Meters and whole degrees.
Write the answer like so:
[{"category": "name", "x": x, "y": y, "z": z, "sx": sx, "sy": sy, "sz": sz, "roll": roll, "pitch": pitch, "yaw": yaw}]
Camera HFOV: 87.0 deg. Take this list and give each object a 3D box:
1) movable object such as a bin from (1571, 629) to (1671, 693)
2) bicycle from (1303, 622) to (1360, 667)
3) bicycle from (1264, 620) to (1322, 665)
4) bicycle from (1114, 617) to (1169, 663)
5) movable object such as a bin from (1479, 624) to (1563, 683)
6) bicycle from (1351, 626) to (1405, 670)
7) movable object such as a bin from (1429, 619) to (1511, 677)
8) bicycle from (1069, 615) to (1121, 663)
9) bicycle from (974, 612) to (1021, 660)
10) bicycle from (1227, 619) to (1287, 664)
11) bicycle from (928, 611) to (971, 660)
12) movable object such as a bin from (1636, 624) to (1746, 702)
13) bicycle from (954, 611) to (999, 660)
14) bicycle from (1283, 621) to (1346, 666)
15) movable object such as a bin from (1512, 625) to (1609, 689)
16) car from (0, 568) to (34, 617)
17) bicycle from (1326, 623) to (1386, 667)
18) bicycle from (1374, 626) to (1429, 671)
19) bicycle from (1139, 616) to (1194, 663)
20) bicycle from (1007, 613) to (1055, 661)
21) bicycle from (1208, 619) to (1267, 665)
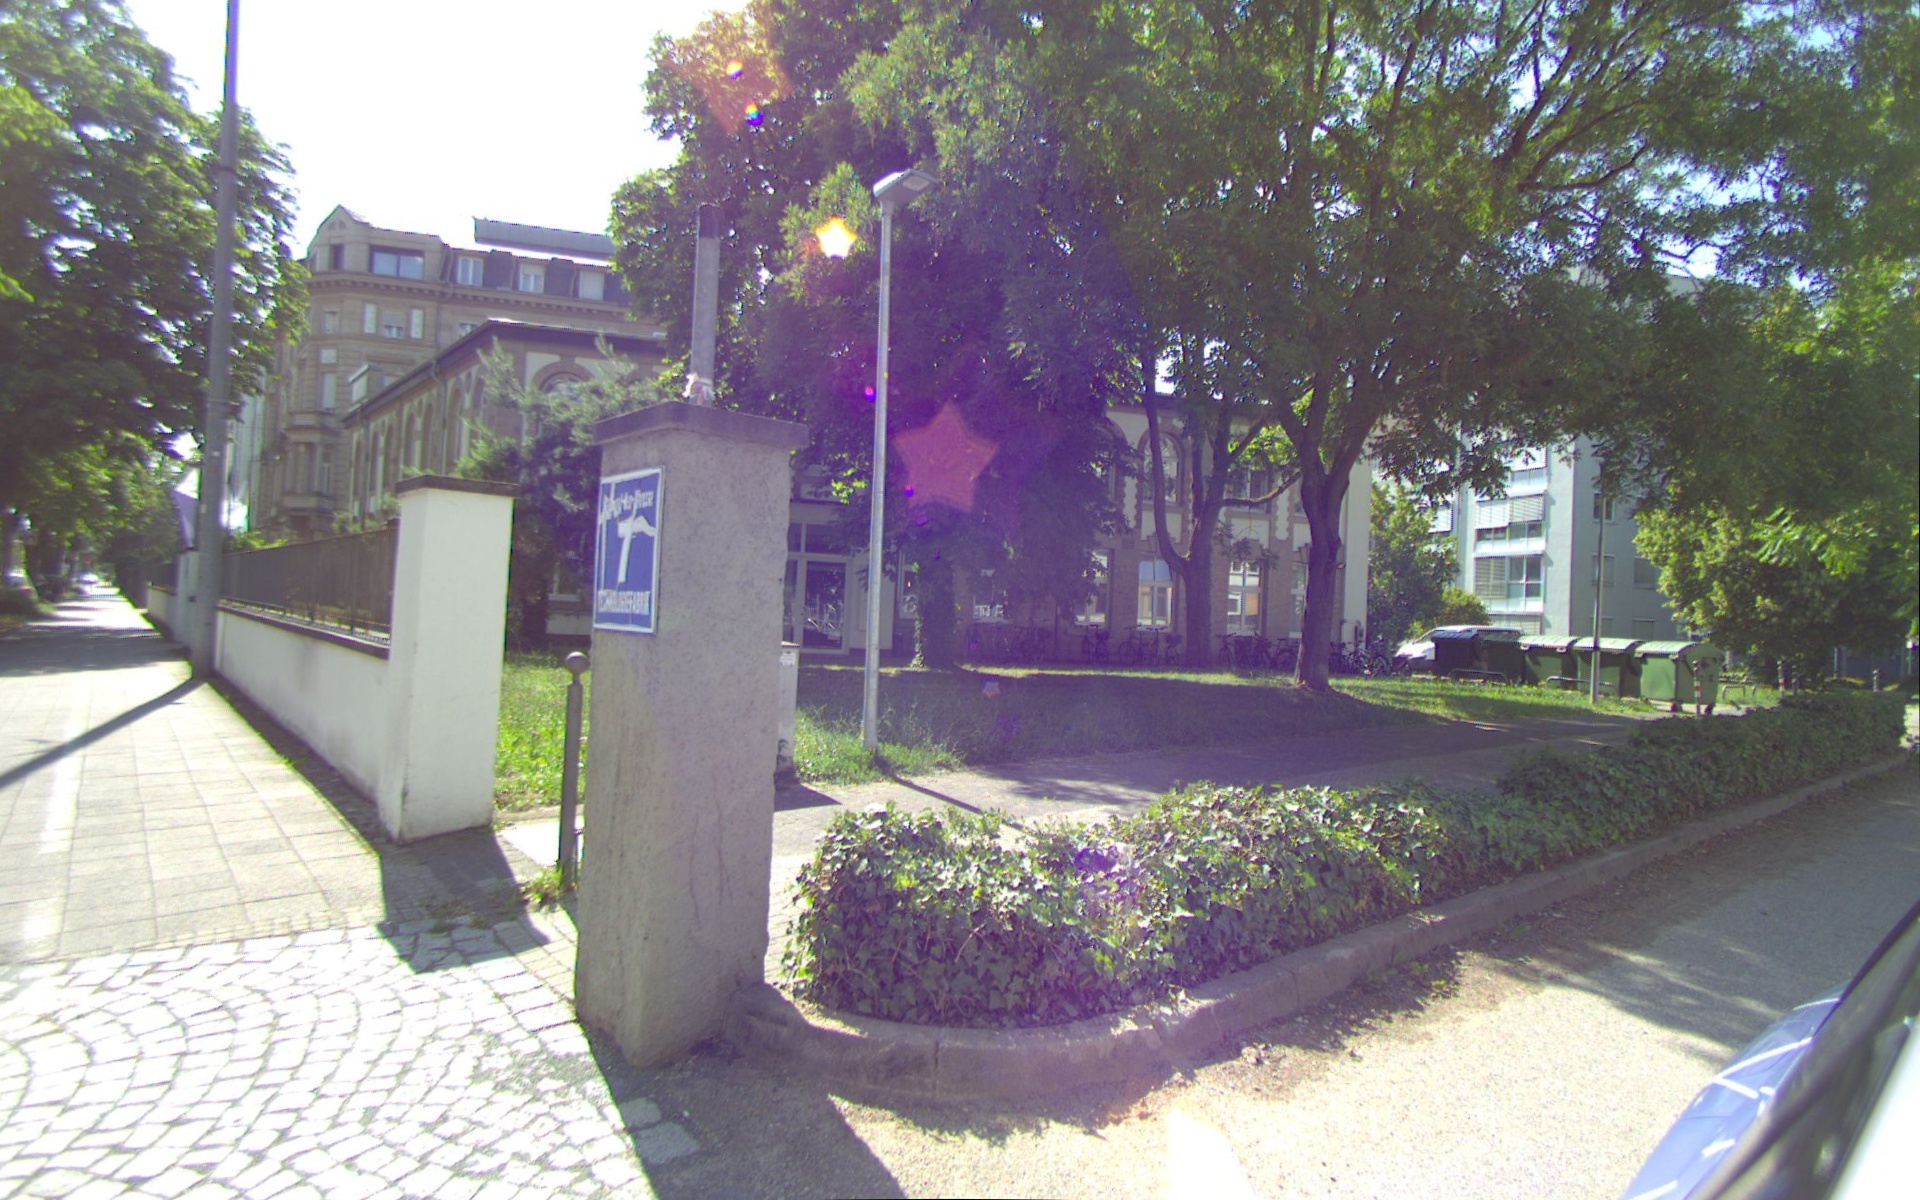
[{"category": "movable object such as a bin", "x": 14.471, "y": 1.323, "z": 22.186, "sx": 1.190, "sy": 1.317, "sz": 1.358, "roll": 2, "pitch": -1, "yaw": -18}, {"category": "bicycle", "x": 10.605, "y": 1.248, "z": 28.936, "sx": 0.484, "sy": 1.176, "sz": 1.918, "roll": 2, "pitch": -1, "yaw": -15}, {"category": "bicycle", "x": 9.371, "y": 1.168, "z": 28.552, "sx": 0.575, "sy": 1.176, "sz": 1.925, "roll": 2, "pitch": -1, "yaw": -15}, {"category": "bicycle", "x": 4.911, "y": 1.066, "z": 27.519, "sx": 0.575, "sy": 1.176, "sz": 2.107, "roll": 2, "pitch": -1, "yaw": -15}, {"category": "movable object such as a bin", "x": 13.938, "y": 1.321, "z": 25.195, "sx": 1.190, "sy": 1.366, "sz": 1.355, "roll": 2, "pitch": -1, "yaw": -18}, {"category": "bicycle", "x": 12.056, "y": 1.361, "z": 29.217, "sx": 0.496, "sy": 1.176, "sz": 1.808, "roll": 2, "pitch": -1, "yaw": -11}, {"category": "movable object such as a bin", "x": 13.428, "y": 1.246, "z": 26.688, "sx": 1.223, "sy": 1.427, "sz": 1.439, "roll": 2, "pitch": -1, "yaw": -19}, {"category": "bicycle", "x": 3.613, "y": 1.028, "z": 27.211, "sx": 0.575, "sy": 1.176, "sz": 2.107, "roll": 2, "pitch": -1, "yaw": -15}, {"category": "bicycle", "x": 0.967, "y": 0.919, "z": 26.655, "sx": 0.575, "sy": 1.176, "sz": 2.107, "roll": 2, "pitch": -1, "yaw": -15}, {"category": "bicycle", "x": 8.308, "y": 1.148, "z": 28.379, "sx": 0.575, "sy": 1.176, "sz": 2.107, "roll": 2, "pitch": -1, "yaw": -15}, {"category": "bicycle", "x": -0.291, "y": 0.893, "z": 26.192, "sx": 0.575, "sy": 1.176, "sz": 2.107, "roll": 2, "pitch": -1, "yaw": -15}, {"category": "movable object such as a bin", "x": 14.996, "y": 1.271, "z": 20.802, "sx": 1.191, "sy": 1.481, "sz": 1.393, "roll": 2, "pitch": -1, "yaw": -3}, {"category": "bicycle", "x": 0.410, "y": 0.907, "z": 26.376, "sx": 0.575, "sy": 1.176, "sz": 2.107, "roll": 2, "pitch": -1, "yaw": -15}, {"category": "bicycle", "x": 10.059, "y": 1.208, "z": 28.810, "sx": 0.575, "sy": 1.176, "sz": 2.107, "roll": 2, "pitch": -1, "yaw": -15}, {"category": "movable object such as a bin", "x": 13.995, "y": 1.309, "z": 23.639, "sx": 1.190, "sy": 1.379, "sz": 1.505, "roll": 2, "pitch": -1, "yaw": -18}, {"category": "car", "x": -35.105, "y": -0.295, "z": 36.906, "sx": 1.825, "sy": 1.701, "sz": 3.993, "roll": 3, "pitch": -1, "yaw": -42}, {"category": "bicycle", "x": 11.406, "y": 1.290, "z": 29.204, "sx": 0.600, "sy": 1.176, "sz": 1.855, "roll": 2, "pitch": -1, "yaw": -15}, {"category": "bicycle", "x": 12.681, "y": 1.372, "z": 29.128, "sx": 0.546, "sy": 1.176, "sz": 1.947, "roll": 2, "pitch": -1, "yaw": -5}, {"category": "bicycle", "x": 5.634, "y": 1.067, "z": 27.751, "sx": 0.575, "sy": 1.176, "sz": 2.107, "roll": 2, "pitch": -1, "yaw": -15}, {"category": "bicycle", "x": 1.864, "y": 0.949, "z": 26.829, "sx": 0.575, "sy": 1.176, "sz": 2.107, "roll": 2, "pitch": -1, "yaw": -15}, {"category": "bicycle", "x": 7.689, "y": 1.137, "z": 28.155, "sx": 0.575, "sy": 1.176, "sz": 2.107, "roll": 2, "pitch": -1, "yaw": -15}]
